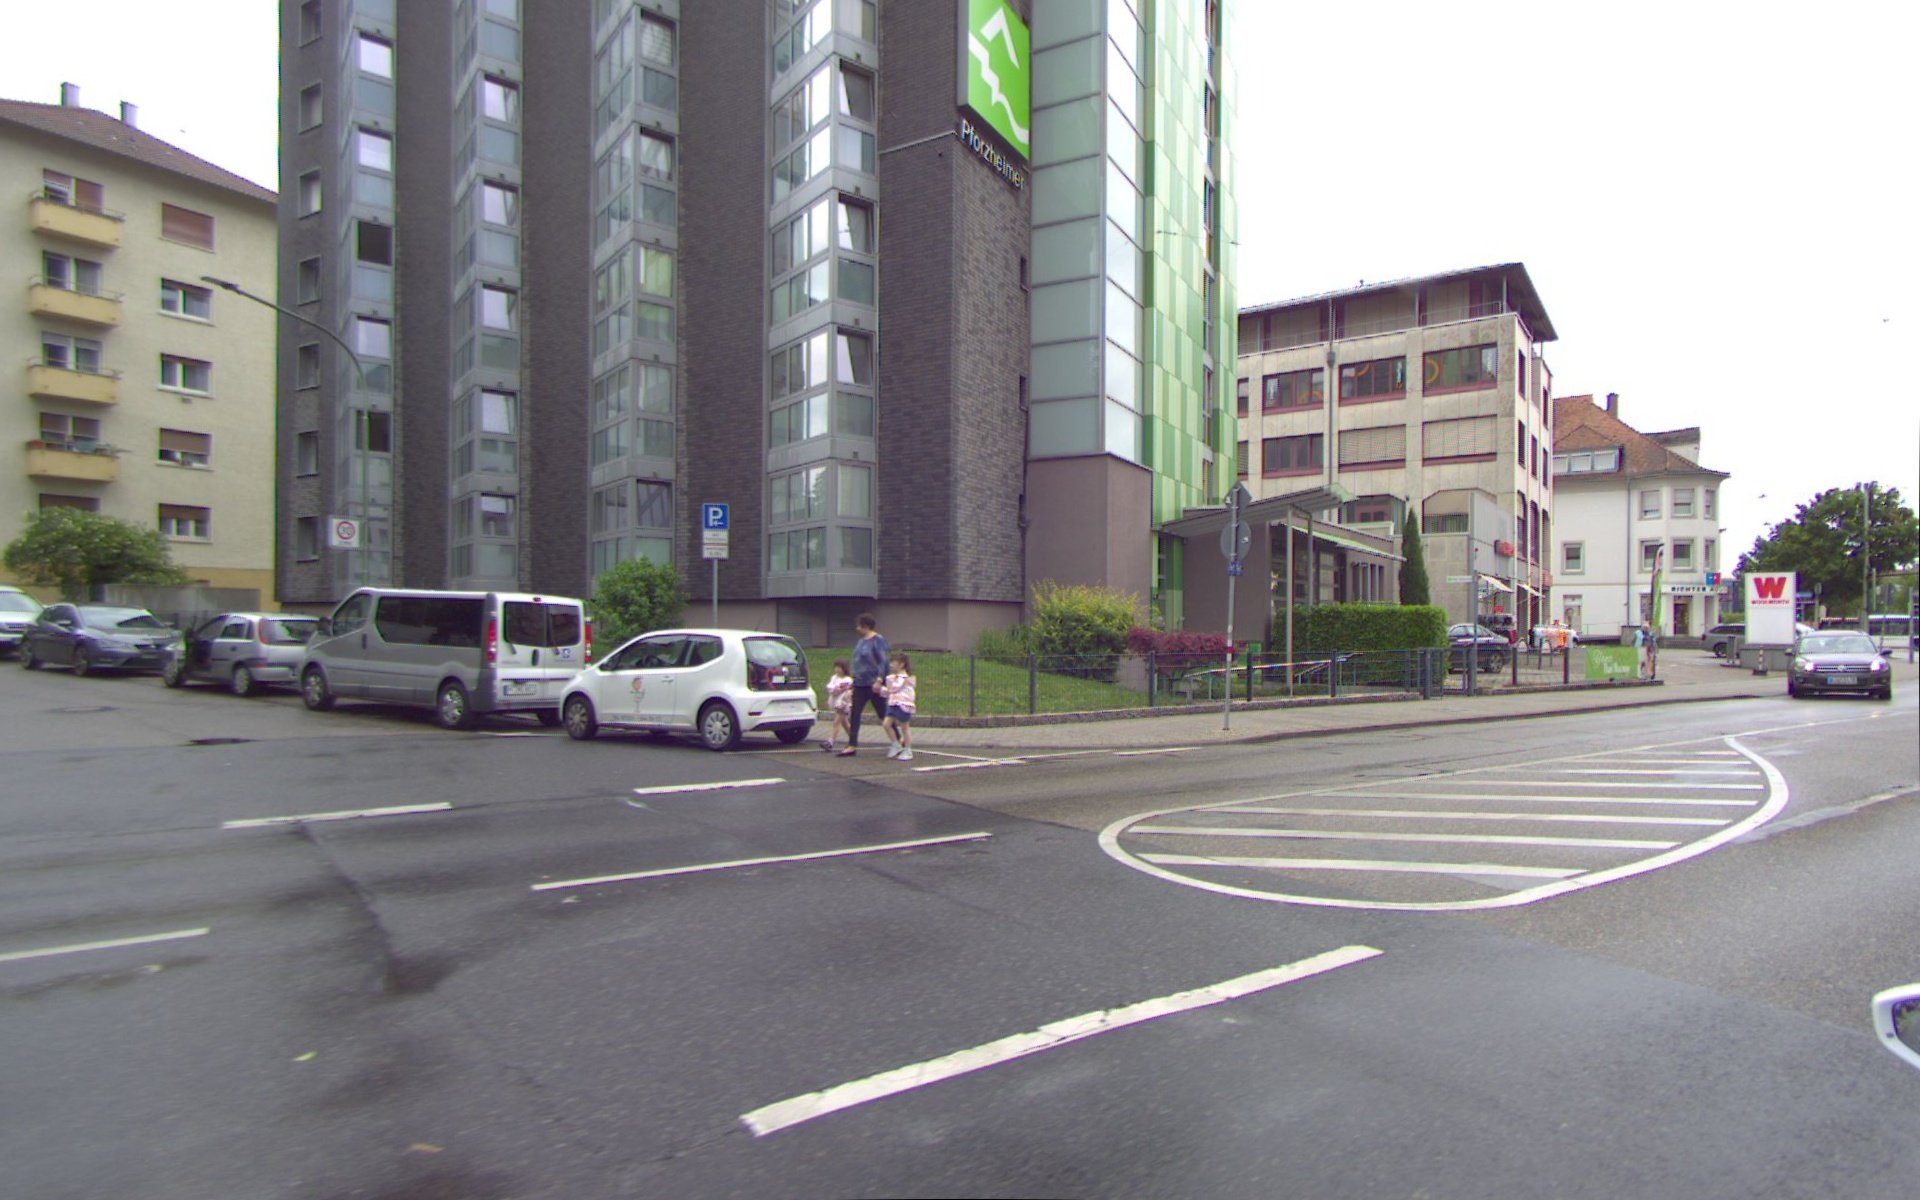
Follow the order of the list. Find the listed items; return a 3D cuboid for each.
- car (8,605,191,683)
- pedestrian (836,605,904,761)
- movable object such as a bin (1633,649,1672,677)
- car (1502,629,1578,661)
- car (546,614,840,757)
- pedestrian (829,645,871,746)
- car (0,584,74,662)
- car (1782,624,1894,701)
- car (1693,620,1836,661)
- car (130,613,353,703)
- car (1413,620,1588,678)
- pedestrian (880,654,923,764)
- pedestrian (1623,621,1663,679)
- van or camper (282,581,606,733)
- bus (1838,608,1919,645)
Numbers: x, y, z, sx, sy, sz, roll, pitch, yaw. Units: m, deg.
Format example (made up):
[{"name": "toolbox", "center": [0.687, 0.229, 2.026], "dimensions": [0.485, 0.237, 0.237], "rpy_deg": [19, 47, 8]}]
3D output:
[{"name": "car", "center": [-17.811, 0.856, 20.762], "dimensions": [3.929, 1.483, 1.691], "rpy_deg": [0, -1, 31]}, {"name": "pedestrian", "center": [-1.072, 0.964, 11.941], "dimensions": [0.576, 1.785, 0.569], "rpy_deg": [1, -1, -40]}, {"name": "movable object such as a bin", "center": [20.944, 1.911, 30.392], "dimensions": [0.718, 0.799, 0.755], "rpy_deg": [1, -1, 11]}, {"name": "car", "center": [32.012, 2.499, 55.448], "dimensions": [3.702, 1.519, 1.576], "rpy_deg": [4, -2, -19]}, {"name": "car", "center": [-3.550, 1.020, 13.306], "dimensions": [3.524, 1.590, 1.738], "rpy_deg": [1, 0, 29]}, {"name": "pedestrian", "center": [-1.379, 1.182, 12.572], "dimensions": [0.356, 1.214, 0.405], "rpy_deg": [1, -1, -40]}, {"name": "car", "center": [-22.949, 0.527, 23.674], "dimensions": [3.929, 1.751, 1.996], "rpy_deg": [0, -1, 31]}, {"name": "car", "center": [21.500, 1.454, 24.558], "dimensions": [1.927, 1.681, 4.034], "rpy_deg": [0, -1, 43]}, {"name": "car", "center": [33.690, 1.674, 42.156], "dimensions": [1.870, 1.546, 4.410], "rpy_deg": [1, -1, -38]}, {"name": "car", "center": [-13.034, 0.986, 18.208], "dimensions": [3.662, 1.462, 1.996], "rpy_deg": [0, -1, 31]}, {"name": "car", "center": [14.798, 1.307, 27.479], "dimensions": [4.592, 1.458, 1.987], "rpy_deg": [1, -1, -27]}, {"name": "pedestrian", "center": [-0.666, 1.229, 11.479], "dimensions": [0.308, 1.214, 0.405], "rpy_deg": [1, -1, -40]}, {"name": "pedestrian", "center": [20.411, 1.481, 30.040], "dimensions": [0.732, 1.708, 0.755], "rpy_deg": [0, -1, 11]}, {"name": "van or camper", "center": [-8.033, 0.808, 15.559], "dimensions": [4.877, 2.040, 1.998], "rpy_deg": [1, -3, 29]}, {"name": "bus", "center": [80.977, 2.264, 86.182], "dimensions": [2.863, 3.146, 8.863], "rpy_deg": [0, -1, -6]}]
